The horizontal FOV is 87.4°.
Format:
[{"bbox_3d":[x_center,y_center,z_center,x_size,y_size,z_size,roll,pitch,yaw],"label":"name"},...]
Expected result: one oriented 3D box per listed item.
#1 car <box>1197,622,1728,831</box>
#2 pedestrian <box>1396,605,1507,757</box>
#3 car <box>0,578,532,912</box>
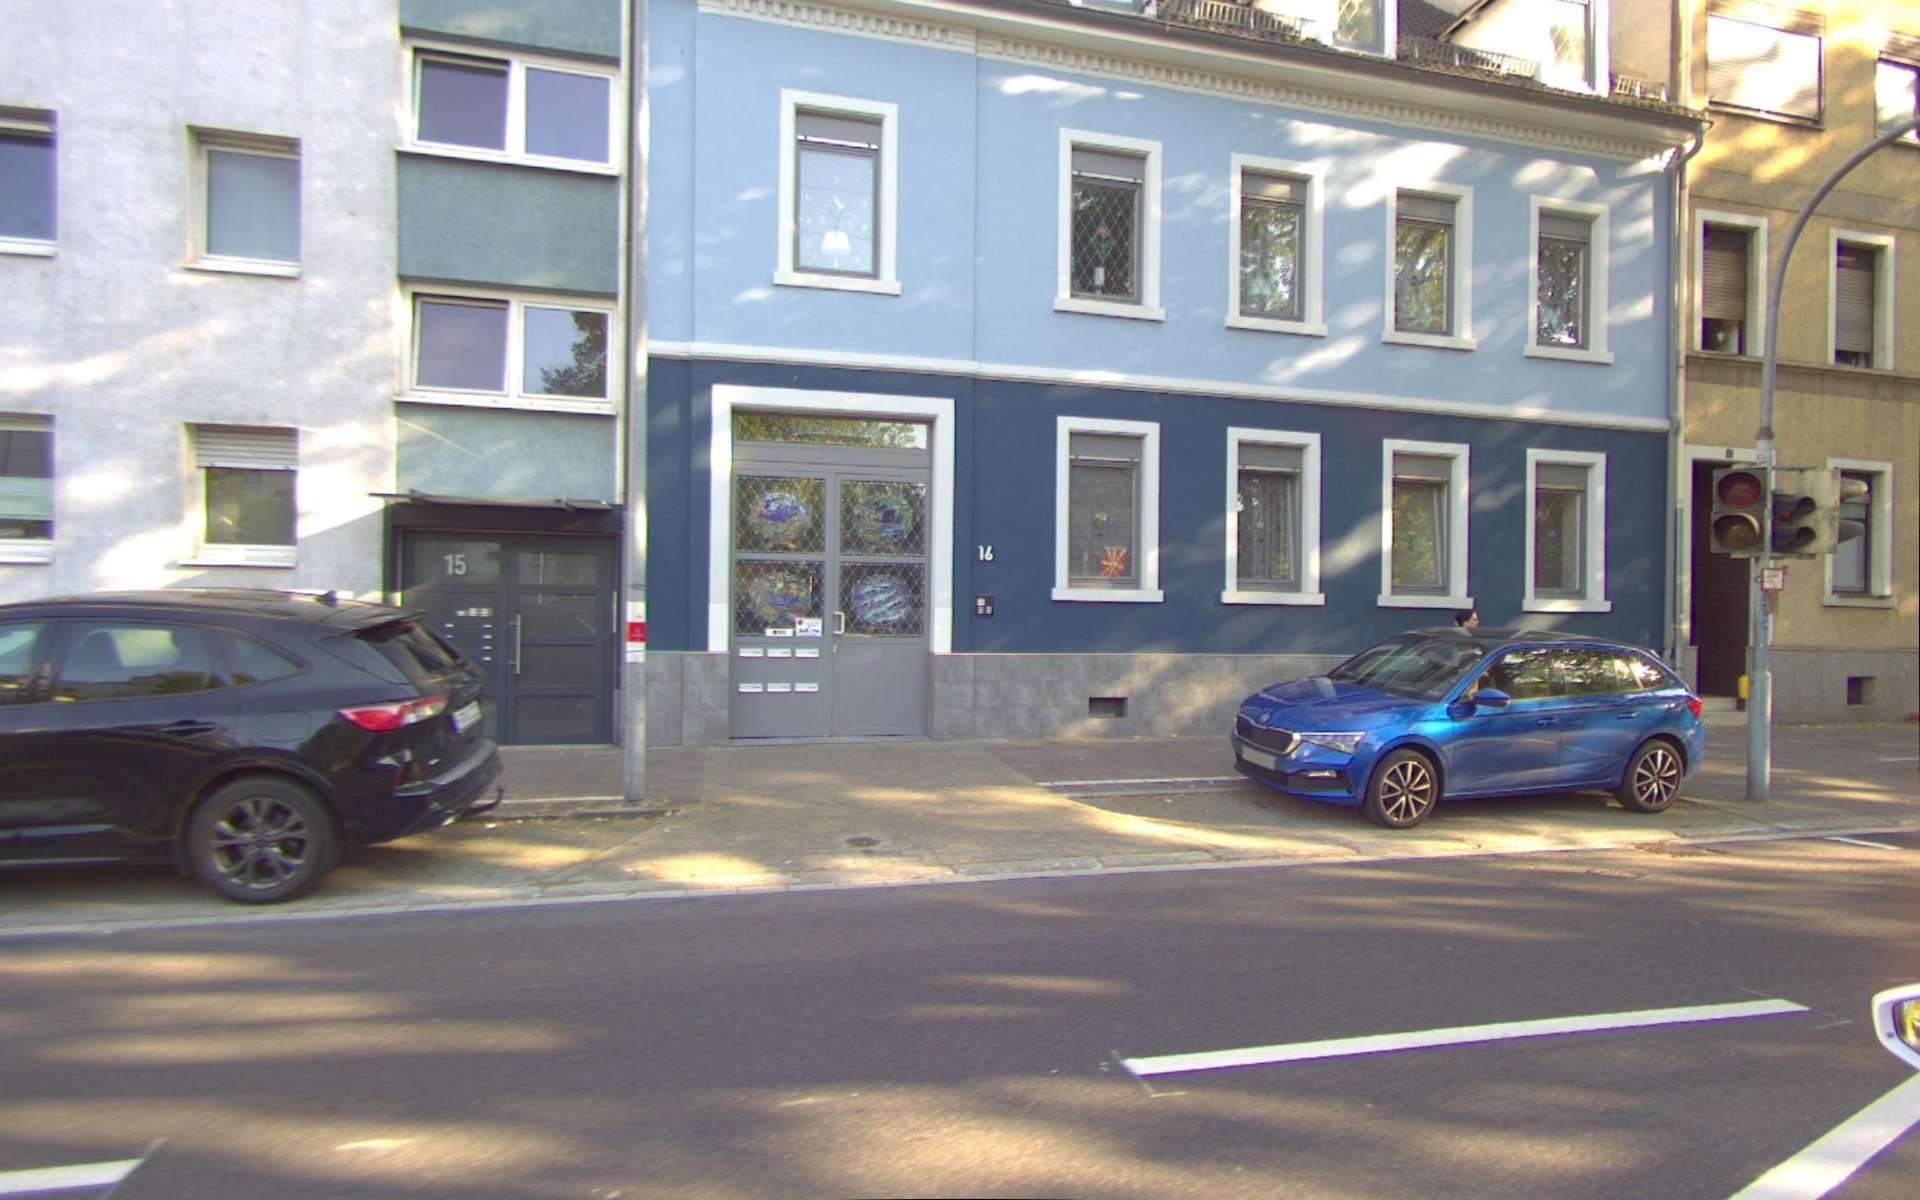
[{"bbox_3d":[4.400,1.003,8.907,4.193,1.506,1.650,1,1,-16],"label":"car"},{"bbox_3d":[5.347,0.860,10.967,0.849,1.591,0.706,1,-1,0],"label":"pedestrian"},{"bbox_3d":[-5.175,0.741,6.085,4.413,1.695,1.908,1,1,-11],"label":"car"}]
